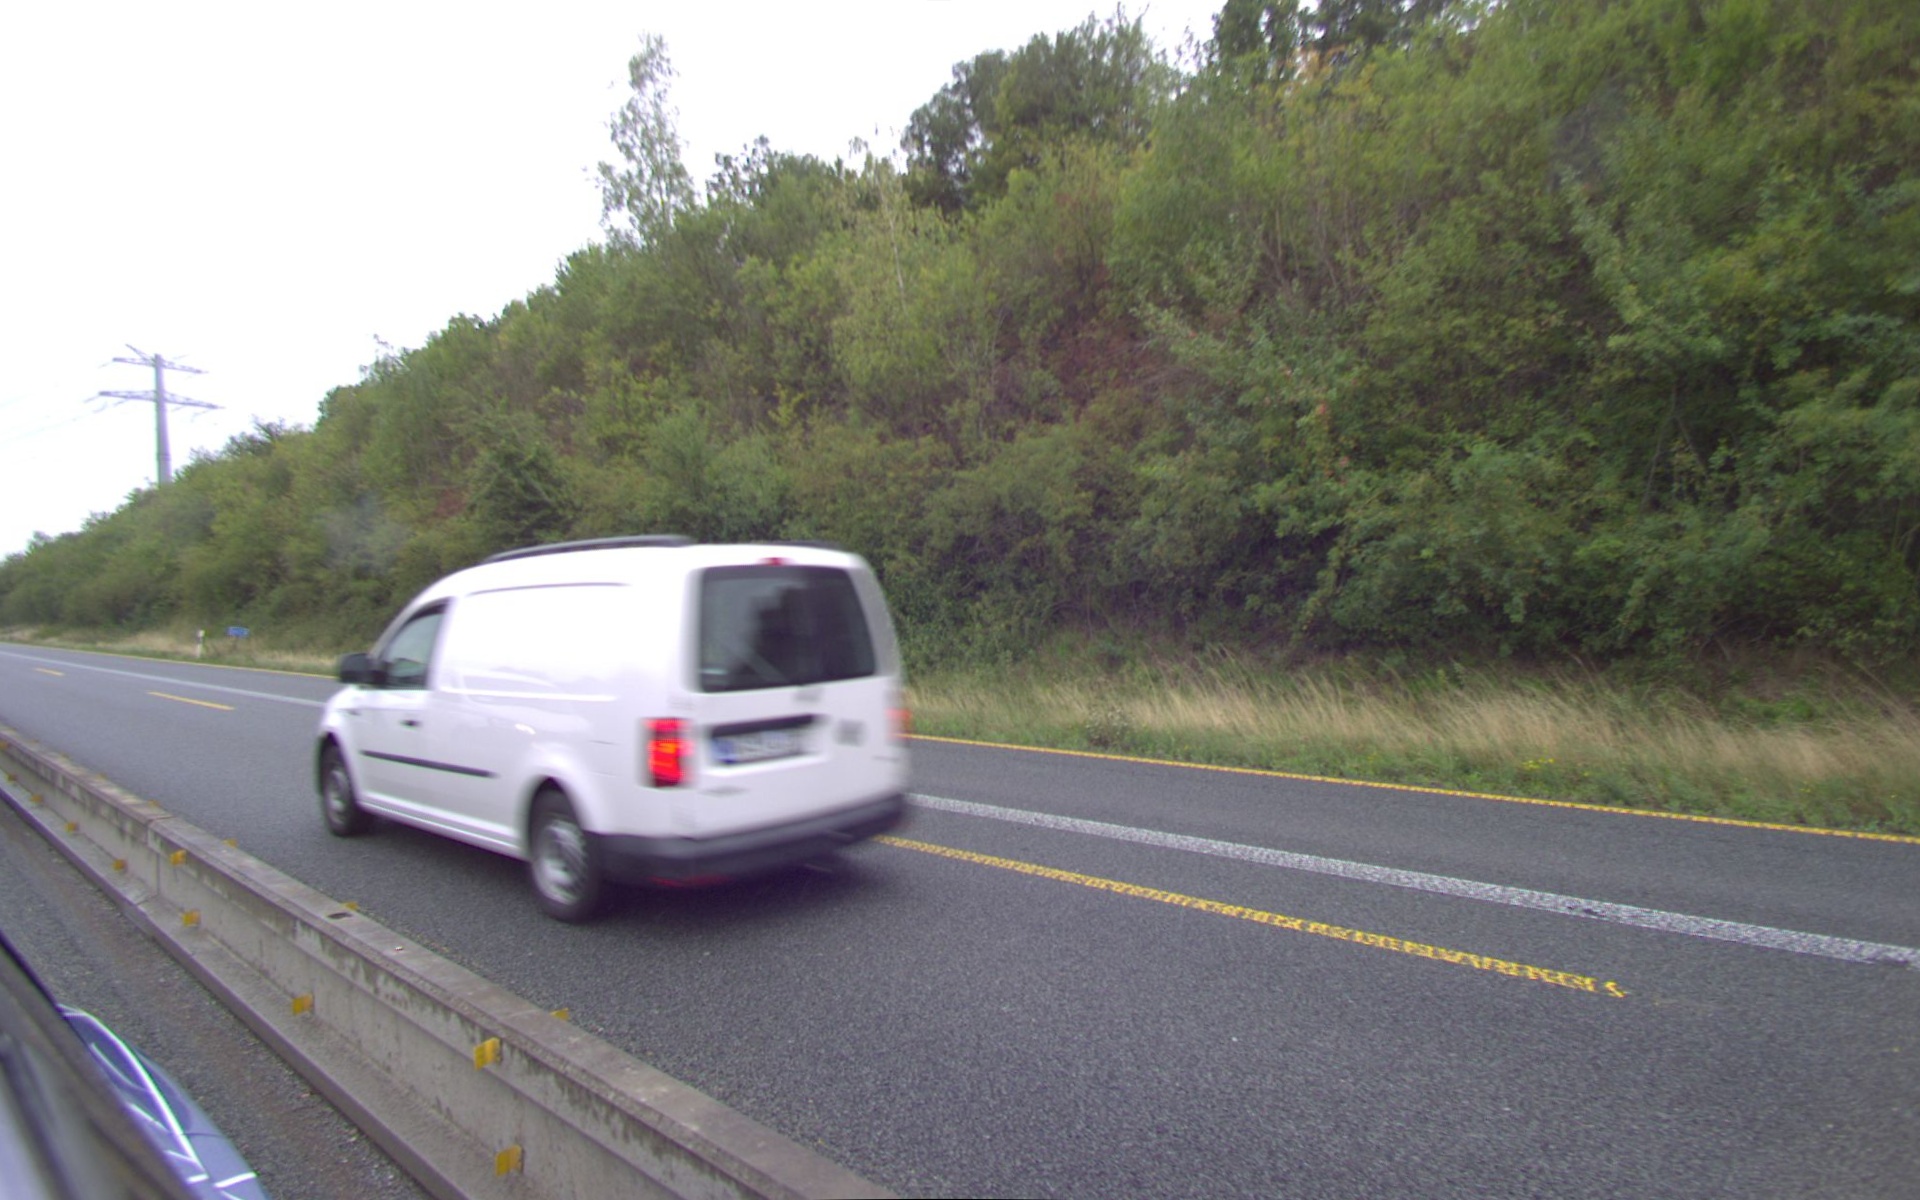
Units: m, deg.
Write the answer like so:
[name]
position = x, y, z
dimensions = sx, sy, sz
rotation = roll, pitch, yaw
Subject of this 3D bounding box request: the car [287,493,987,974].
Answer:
[car]
position = -2.209, 0.532, 6.057
dimensions = 4.631, 1.837, 1.792
rotation = -1, 0, 40
